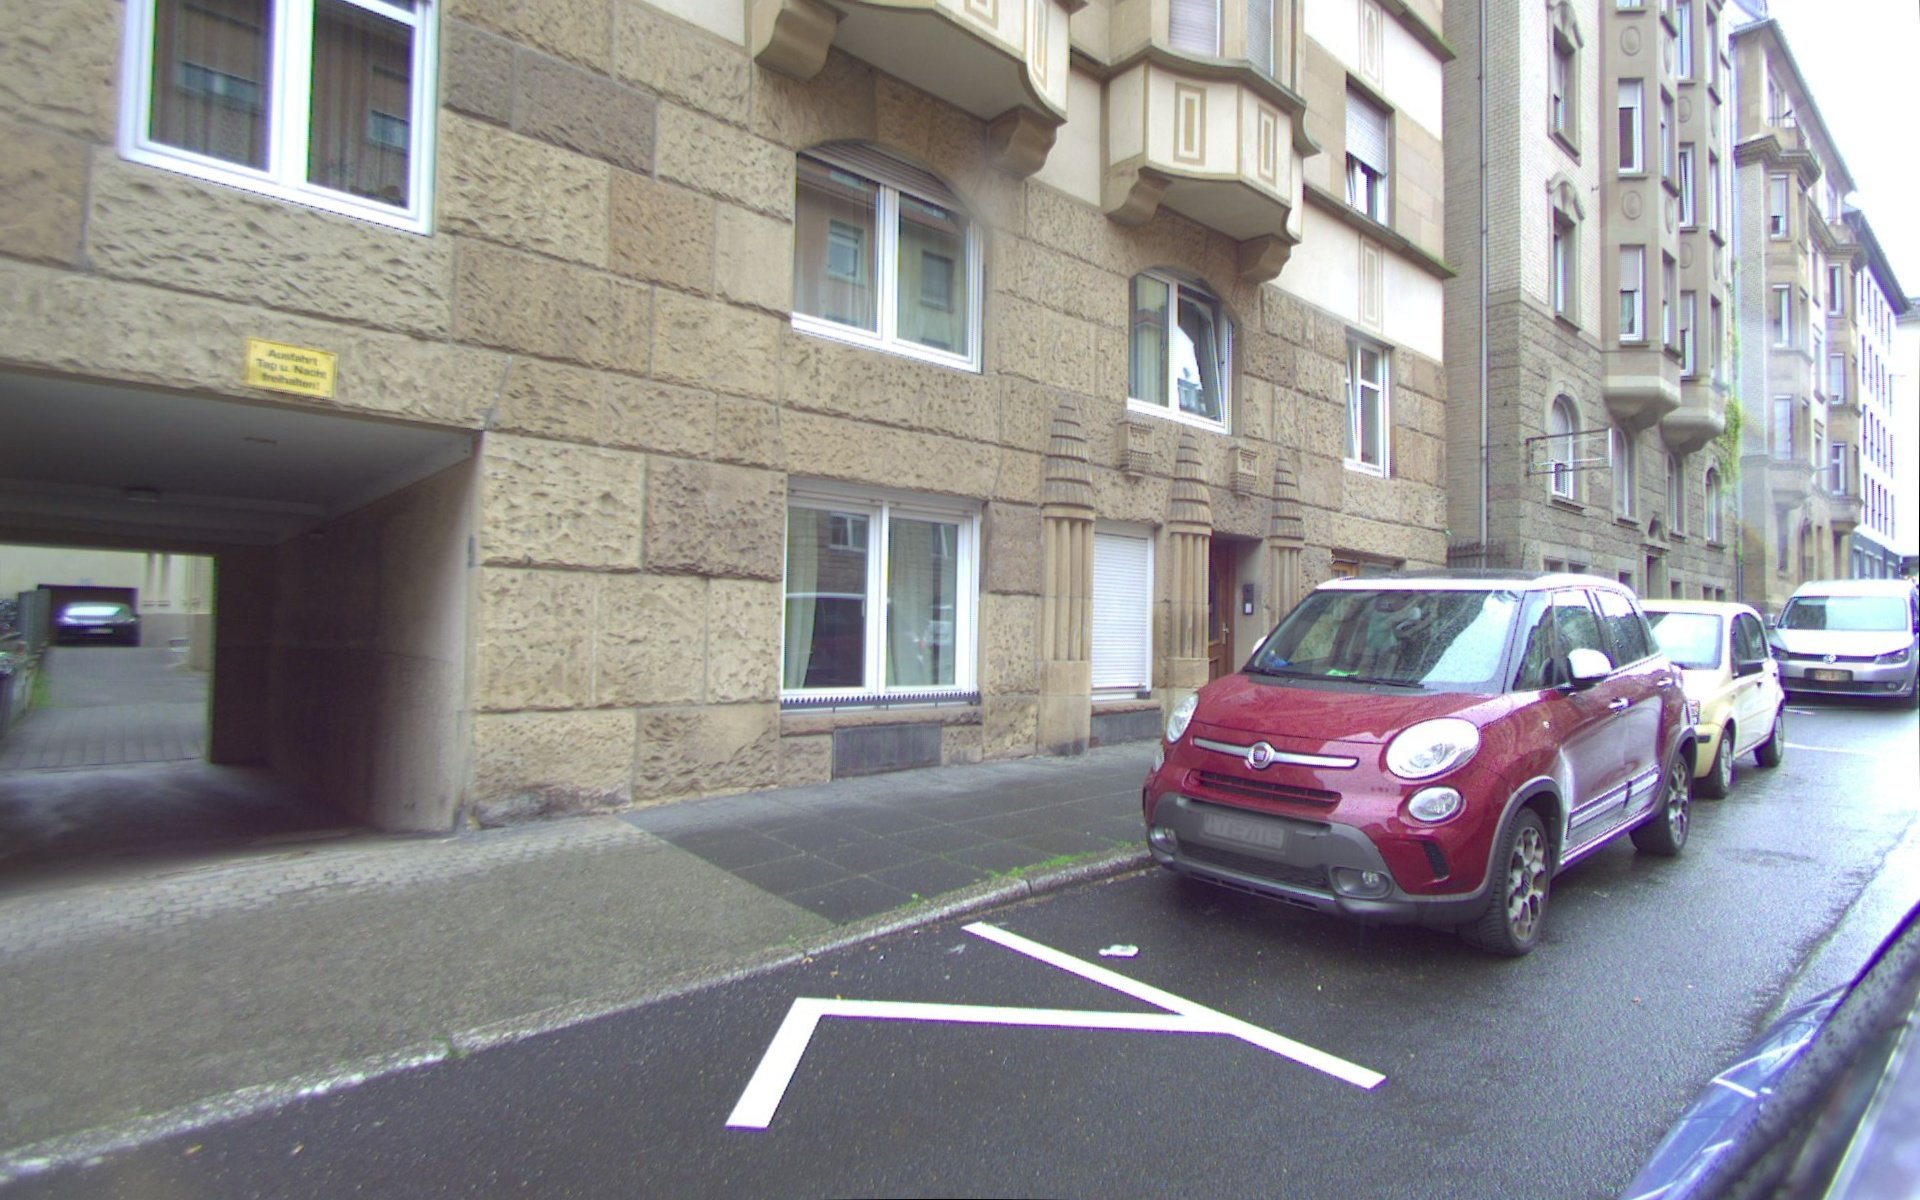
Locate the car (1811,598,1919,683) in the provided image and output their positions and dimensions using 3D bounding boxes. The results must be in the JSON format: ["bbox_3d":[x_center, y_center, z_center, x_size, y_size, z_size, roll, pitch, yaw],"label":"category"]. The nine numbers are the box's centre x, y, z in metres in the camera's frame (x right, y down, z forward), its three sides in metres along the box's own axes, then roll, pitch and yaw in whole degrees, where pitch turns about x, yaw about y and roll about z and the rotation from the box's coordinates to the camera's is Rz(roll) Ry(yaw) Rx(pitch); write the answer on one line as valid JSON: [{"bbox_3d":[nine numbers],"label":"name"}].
[{"bbox_3d":[17.163,0.676,18.440,3.912,1.406,1.929,0,-1,-41],"label":"car"}]

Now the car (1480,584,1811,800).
[{"bbox_3d":[6.157,0.660,8.957,3.471,1.530,1.630,0,-1,-42],"label":"car"}]

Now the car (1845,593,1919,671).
[{"bbox_3d":[20.362,0.623,21.402,3.987,1.544,1.933,0,-1,-41],"label":"car"}]

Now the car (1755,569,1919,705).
[{"bbox_3d":[13.622,0.484,15.304,3.893,1.791,1.809,0,0,-41],"label":"car"}]

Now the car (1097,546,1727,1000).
[{"bbox_3d":[2.712,0.598,5.604,3.932,1.621,1.772,0,1,-42],"label":"car"}]

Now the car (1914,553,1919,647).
[{"bbox_3d":[29.163,-0.012,28.863,6.042,2.567,1.991,0,-1,-39],"label":"car"}]

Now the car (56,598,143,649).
[{"bbox_3d":[-25.090,0.640,29.481,1.765,1.363,4.008,-1,1,-43],"label":"car"}]
